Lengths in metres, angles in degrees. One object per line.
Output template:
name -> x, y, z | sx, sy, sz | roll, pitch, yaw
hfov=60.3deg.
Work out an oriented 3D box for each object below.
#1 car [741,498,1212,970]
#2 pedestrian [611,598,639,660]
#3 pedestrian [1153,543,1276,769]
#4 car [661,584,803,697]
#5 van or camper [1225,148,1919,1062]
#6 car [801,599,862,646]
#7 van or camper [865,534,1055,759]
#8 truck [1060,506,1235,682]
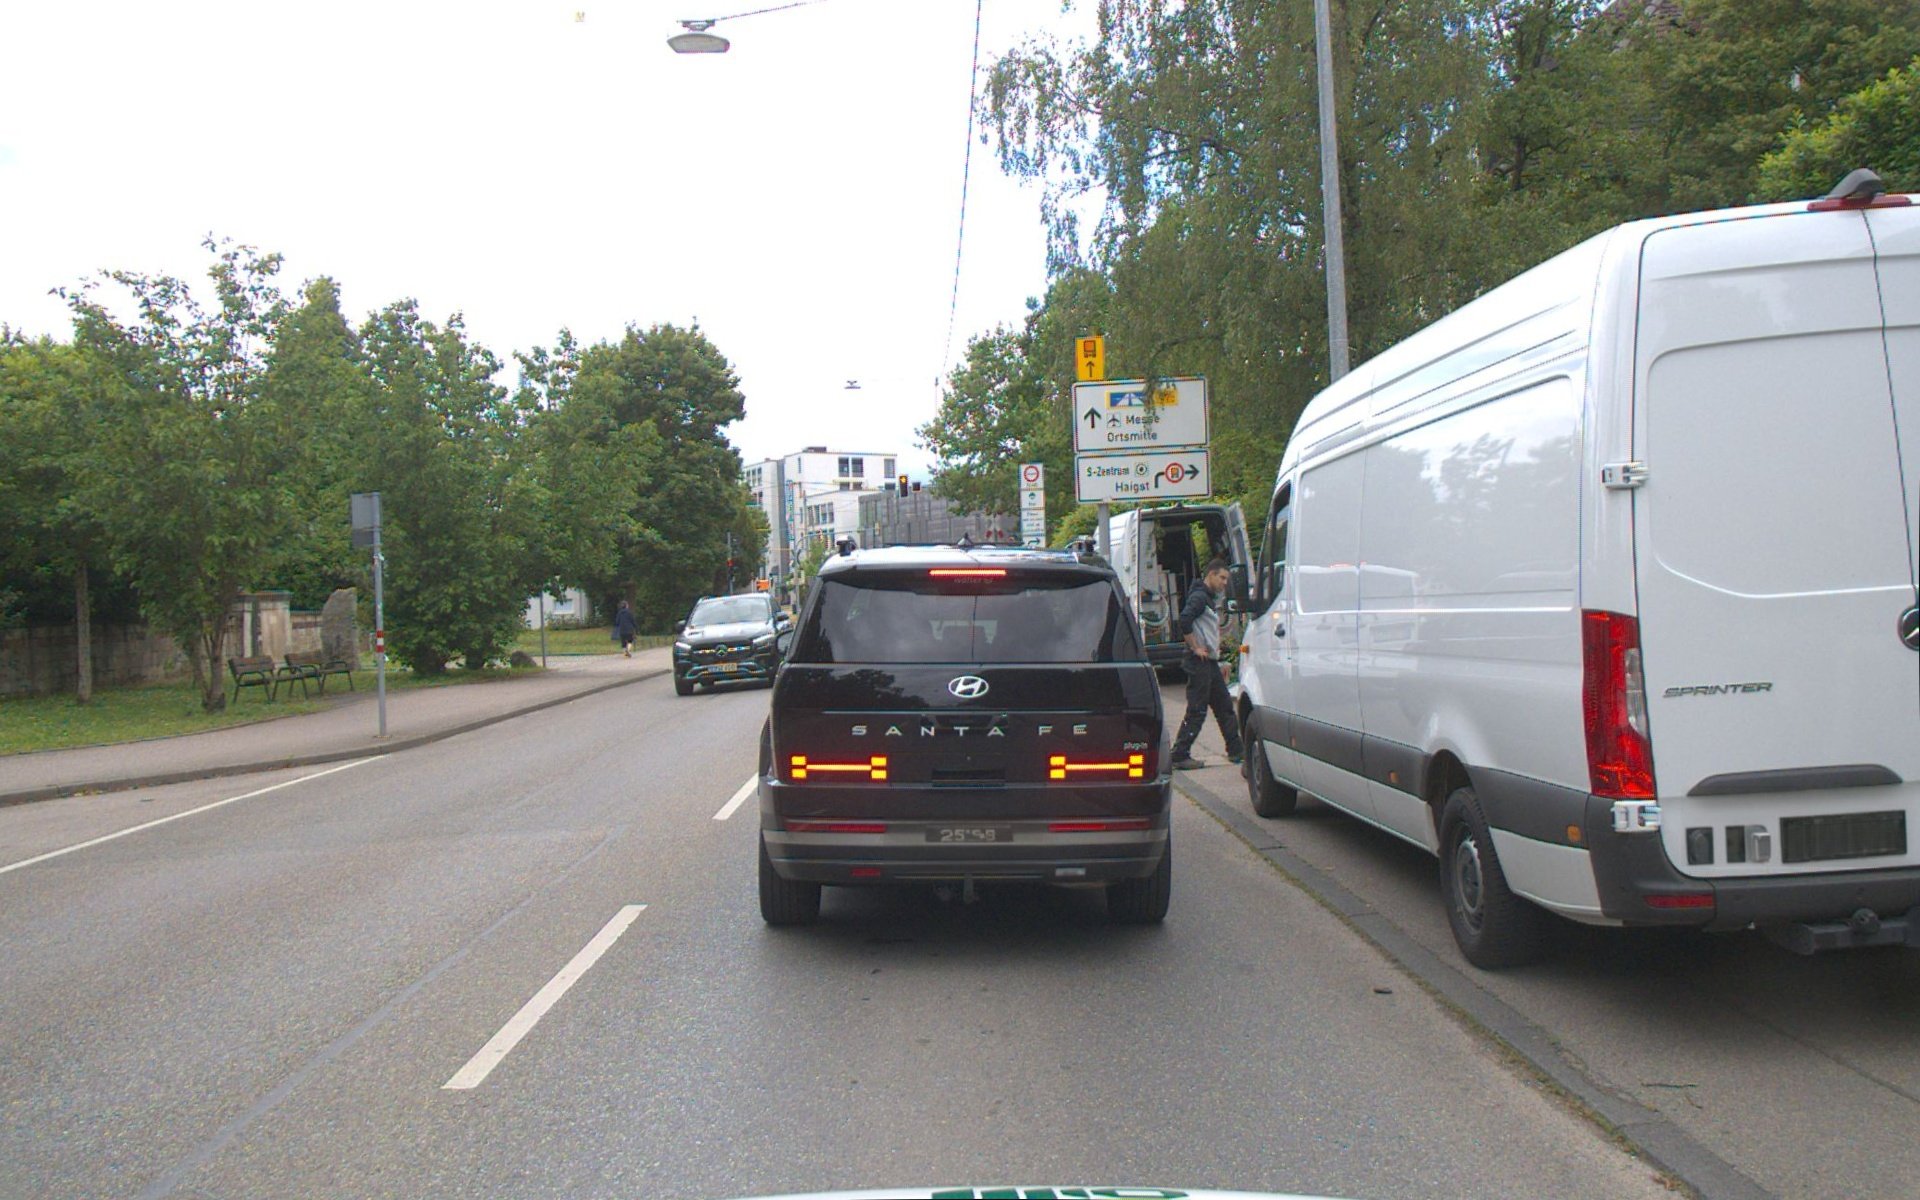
car -> 0.039, 0.518, 8.516 | 1.851, 1.851, 3.999 | 0, 0, -1
pedestrian -> -9.742, 0.839, 48.115 | 0.724, 1.745, 0.791 | -2, 0, -8
pedestrian -> 2.131, 0.455, 13.939 | 0.852, 1.828, 0.759 | -2, 0, -2
car -> -3.881, 0.640, 28.787 | 1.822, 1.686, 4.305 | -4, 0, -1
van or camper -> 2.891, -0.015, 8.155 | 1.953, 2.665, 6.540 | -2, 0, -1
car -> -4.538, 0.778, 58.787 | 1.822, 1.478, 4.110 | -4, 0, -1
van or camper -> -0.032, 0.425, 17.459 | 1.719, 2.049, 3.999 | -2, 0, -1
truck -> 3.053, -0.084, 28.089 | 1.904, 2.606, 5.212 | -3, 0, -4
